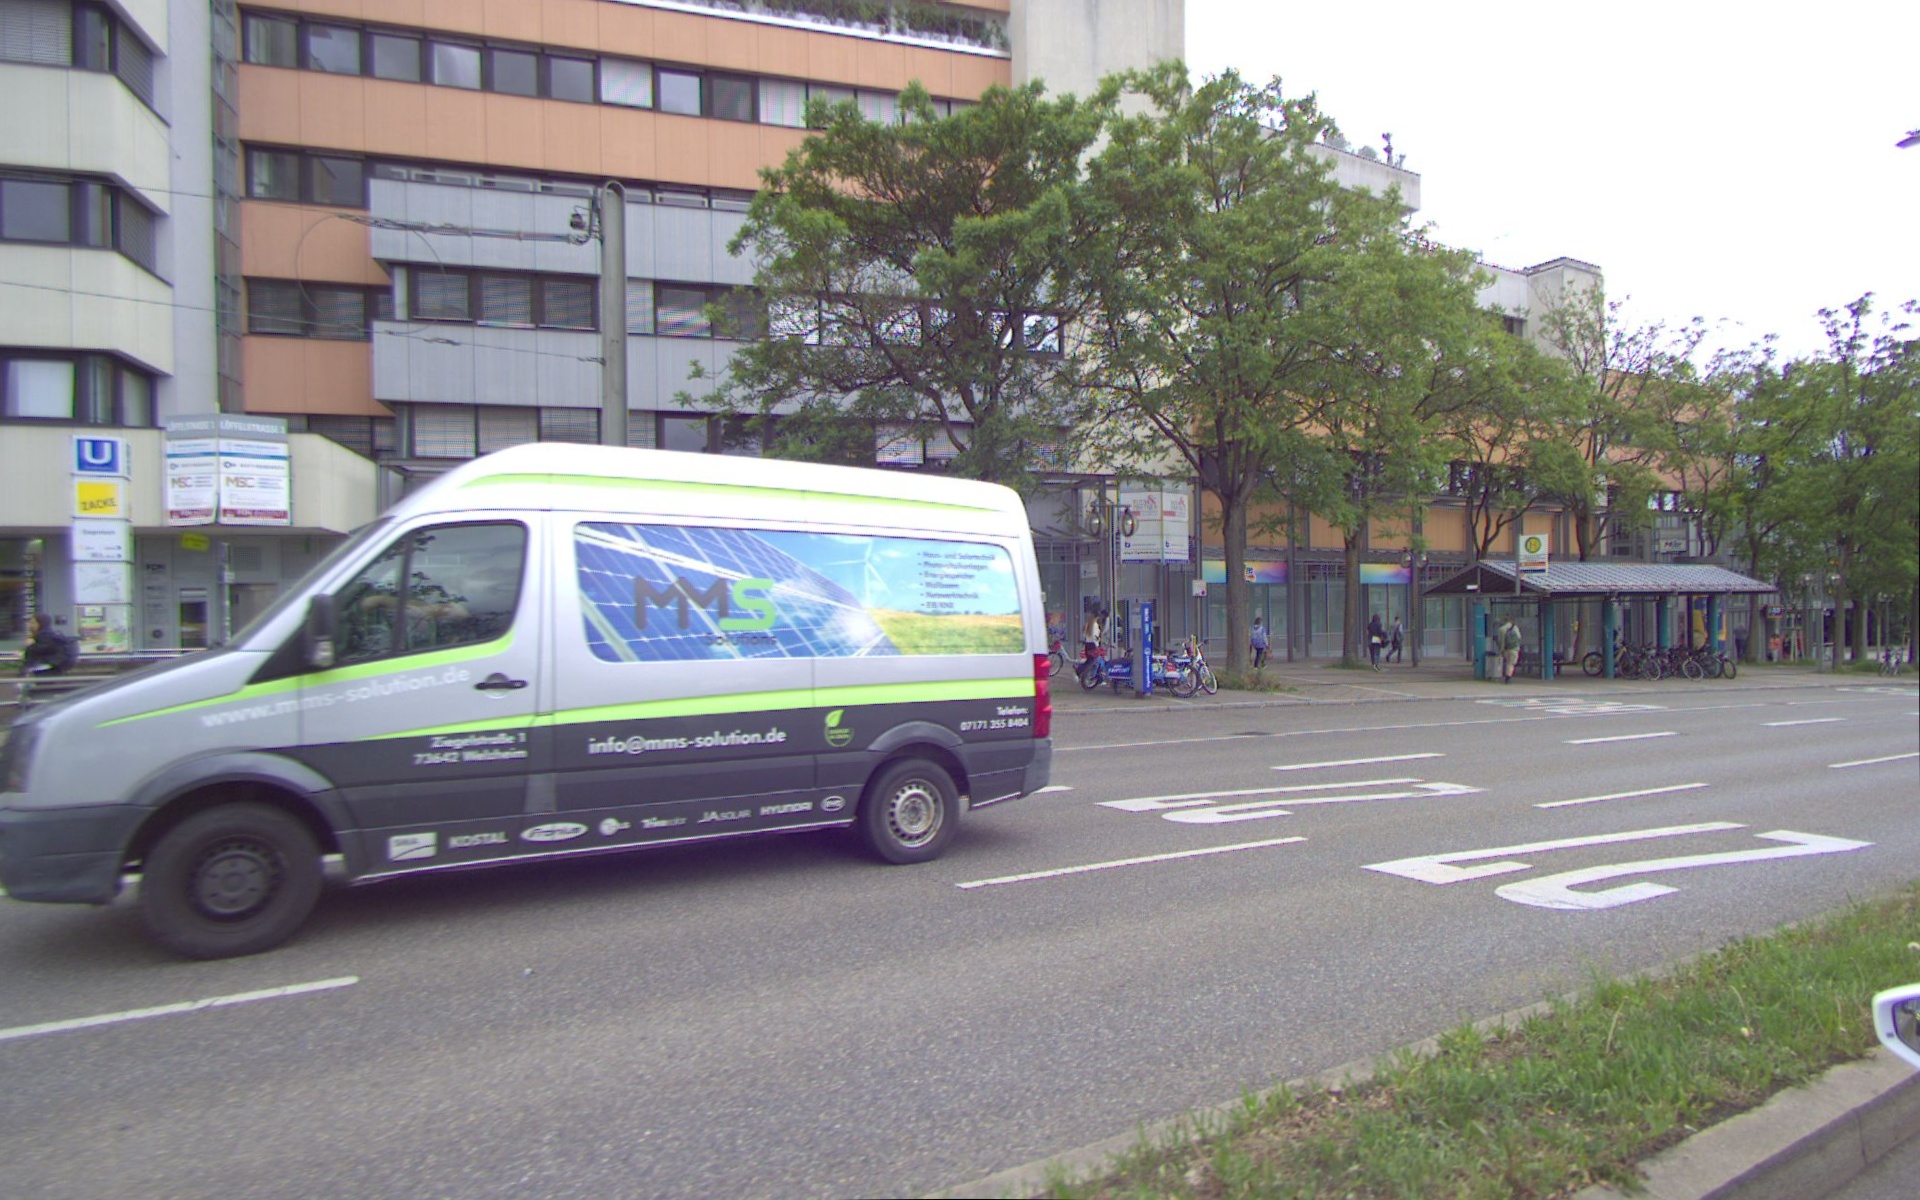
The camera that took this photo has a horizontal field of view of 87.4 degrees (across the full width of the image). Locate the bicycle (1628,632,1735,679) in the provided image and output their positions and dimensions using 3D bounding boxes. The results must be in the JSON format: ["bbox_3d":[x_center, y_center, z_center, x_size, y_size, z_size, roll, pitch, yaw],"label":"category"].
[{"bbox_3d":[24.430,1.861,34.101,0.770,1.526,2.884,1,-2,-31],"label":"bicycle"}]

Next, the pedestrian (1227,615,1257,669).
[{"bbox_3d":[8.708,1.294,31.030,0.614,1.621,0.630,1,1,-27],"label":"pedestrian"}]

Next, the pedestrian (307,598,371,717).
[{"bbox_3d":[-10.247,0.931,16.585,0.864,1.902,0.740,1,-1,-32],"label":"pedestrian"}]

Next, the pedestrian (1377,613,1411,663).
[{"bbox_3d":[15.493,1.362,35.864,0.781,1.739,0.766,1,1,-32],"label":"pedestrian"}]

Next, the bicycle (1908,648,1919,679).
[{"bbox_3d":[36.072,2.360,37.389,1.918,1.098,0.824,1,-2,-37],"label":"bicycle"}]

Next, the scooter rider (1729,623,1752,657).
[{"bbox_3d":[36.659,1.895,47.194,0.696,1.566,0.524,1,1,-20],"label":"scooter rider"}]

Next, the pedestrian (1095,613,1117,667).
[{"bbox_3d":[4.438,1.211,30.551,0.610,1.621,0.635,1,1,8],"label":"pedestrian"}]

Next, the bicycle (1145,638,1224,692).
[{"bbox_3d":[4.963,1.432,22.256,1.655,1.176,0.605,0,-1,8],"label":"bicycle"}]

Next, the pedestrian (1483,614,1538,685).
[{"bbox_3d":[14.890,1.329,27.152,1.198,1.847,0.701,2,0,-27],"label":"pedestrian"}]

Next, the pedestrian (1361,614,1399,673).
[{"bbox_3d":[12.817,1.312,30.661,0.772,1.739,0.775,1,1,-6],"label":"pedestrian"}]

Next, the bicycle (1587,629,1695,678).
[{"bbox_3d":[22.295,1.731,32.965,0.802,1.526,2.886,1,-2,-29],"label":"bicycle"}]

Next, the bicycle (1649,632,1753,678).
[{"bbox_3d":[25.687,1.884,34.884,0.592,1.526,2.884,1,-2,-31],"label":"bicycle"}]

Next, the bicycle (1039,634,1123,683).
[{"bbox_3d":[2.982,1.434,24.737,1.978,1.176,0.674,-1,-1,16],"label":"bicycle"}]

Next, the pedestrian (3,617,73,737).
[{"bbox_3d":[-12.681,1.035,13.832,0.614,1.594,0.595,0,-1,-34],"label":"pedestrian"}]

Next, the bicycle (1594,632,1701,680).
[{"bbox_3d":[22.966,1.844,33.645,0.796,1.526,2.884,1,-2,-31],"label":"bicycle"}]

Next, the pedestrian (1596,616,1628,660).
[{"bbox_3d":[30.087,1.753,46.327,0.923,2.040,0.892,1,-2,-29],"label":"pedestrian"}]

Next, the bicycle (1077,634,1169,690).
[{"bbox_3d":[3.559,1.340,21.934,1.935,1.176,0.602,0,-1,-20],"label":"bicycle"}]

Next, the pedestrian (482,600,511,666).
[{"bbox_3d":[-12.486,0.880,27.053,0.628,1.720,0.700,1,1,-31],"label":"pedestrian"}]

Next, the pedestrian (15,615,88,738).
[{"bbox_3d":[-12.114,0.997,13.409,0.614,1.594,0.595,0,-1,-34],"label":"pedestrian"}]

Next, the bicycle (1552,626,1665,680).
[{"bbox_3d":[20.552,1.642,31.938,0.961,1.527,2.884,1,0,-31],"label":"bicycle"}]

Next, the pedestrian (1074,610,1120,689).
[{"bbox_3d":[3.122,1.114,22.947,0.698,1.736,0.772,1,1,-29],"label":"pedestrian"}]

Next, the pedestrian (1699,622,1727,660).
[{"bbox_3d":[35.527,1.942,47.412,0.877,1.739,0.766,1,1,-32],"label":"pedestrian"}]

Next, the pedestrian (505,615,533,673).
[{"bbox_3d":[-13.605,1.338,30.989,0.699,1.739,0.699,1,1,-32],"label":"pedestrian"}]

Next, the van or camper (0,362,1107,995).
[{"bbox_3d":[-2.070,0.401,6.516,6.045,2.632,2.023,1,-3,-31],"label":"van or camper"}]

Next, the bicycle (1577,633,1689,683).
[{"bbox_3d":[21.563,1.820,32.257,0.881,1.526,2.884,1,-2,-31],"label":"bicycle"}]

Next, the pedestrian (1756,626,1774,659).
[{"bbox_3d":[43.448,2.286,54.213,0.673,1.750,0.561,1,-1,-32],"label":"pedestrian"}]

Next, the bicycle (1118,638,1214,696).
[{"bbox_3d":[4.303,1.395,21.056,1.925,1.176,0.605,0,-1,8],"label":"bicycle"}]

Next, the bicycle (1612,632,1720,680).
[{"bbox_3d":[23.622,1.854,33.665,0.796,1.526,2.884,1,-2,-31],"label":"bicycle"}]

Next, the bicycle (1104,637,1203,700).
[{"bbox_3d":[3.884,1.369,20.280,1.925,1.177,0.605,1,1,9],"label":"bicycle"}]

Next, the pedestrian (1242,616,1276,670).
[{"bbox_3d":[9.048,1.290,30.390,0.698,1.605,0.663,1,1,-29],"label":"pedestrian"}]

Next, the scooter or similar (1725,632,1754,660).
[{"bbox_3d":[36.626,2.180,47.188,1.268,1.284,0.479,1,1,-20],"label":"scooter or similar"}]

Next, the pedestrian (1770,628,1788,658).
[{"bbox_3d":[43.633,2.287,53.504,0.673,1.610,0.514,1,-1,-32],"label":"pedestrian"}]

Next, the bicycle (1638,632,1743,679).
[{"bbox_3d":[25.107,1.876,34.601,0.692,1.526,2.884,1,-2,-31],"label":"bicycle"}]

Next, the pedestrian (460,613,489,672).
[{"bbox_3d":[-14.706,1.275,30.396,0.699,1.739,0.699,1,1,-32],"label":"pedestrian"}]

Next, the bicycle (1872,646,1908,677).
[{"bbox_3d":[35.511,2.328,38.344,1.939,1.151,0.708,1,-2,-38],"label":"bicycle"}]

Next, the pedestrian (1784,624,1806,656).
[{"bbox_3d":[42.508,2.030,51.150,0.817,1.607,0.630,1,-2,-33],"label":"pedestrian"}]
